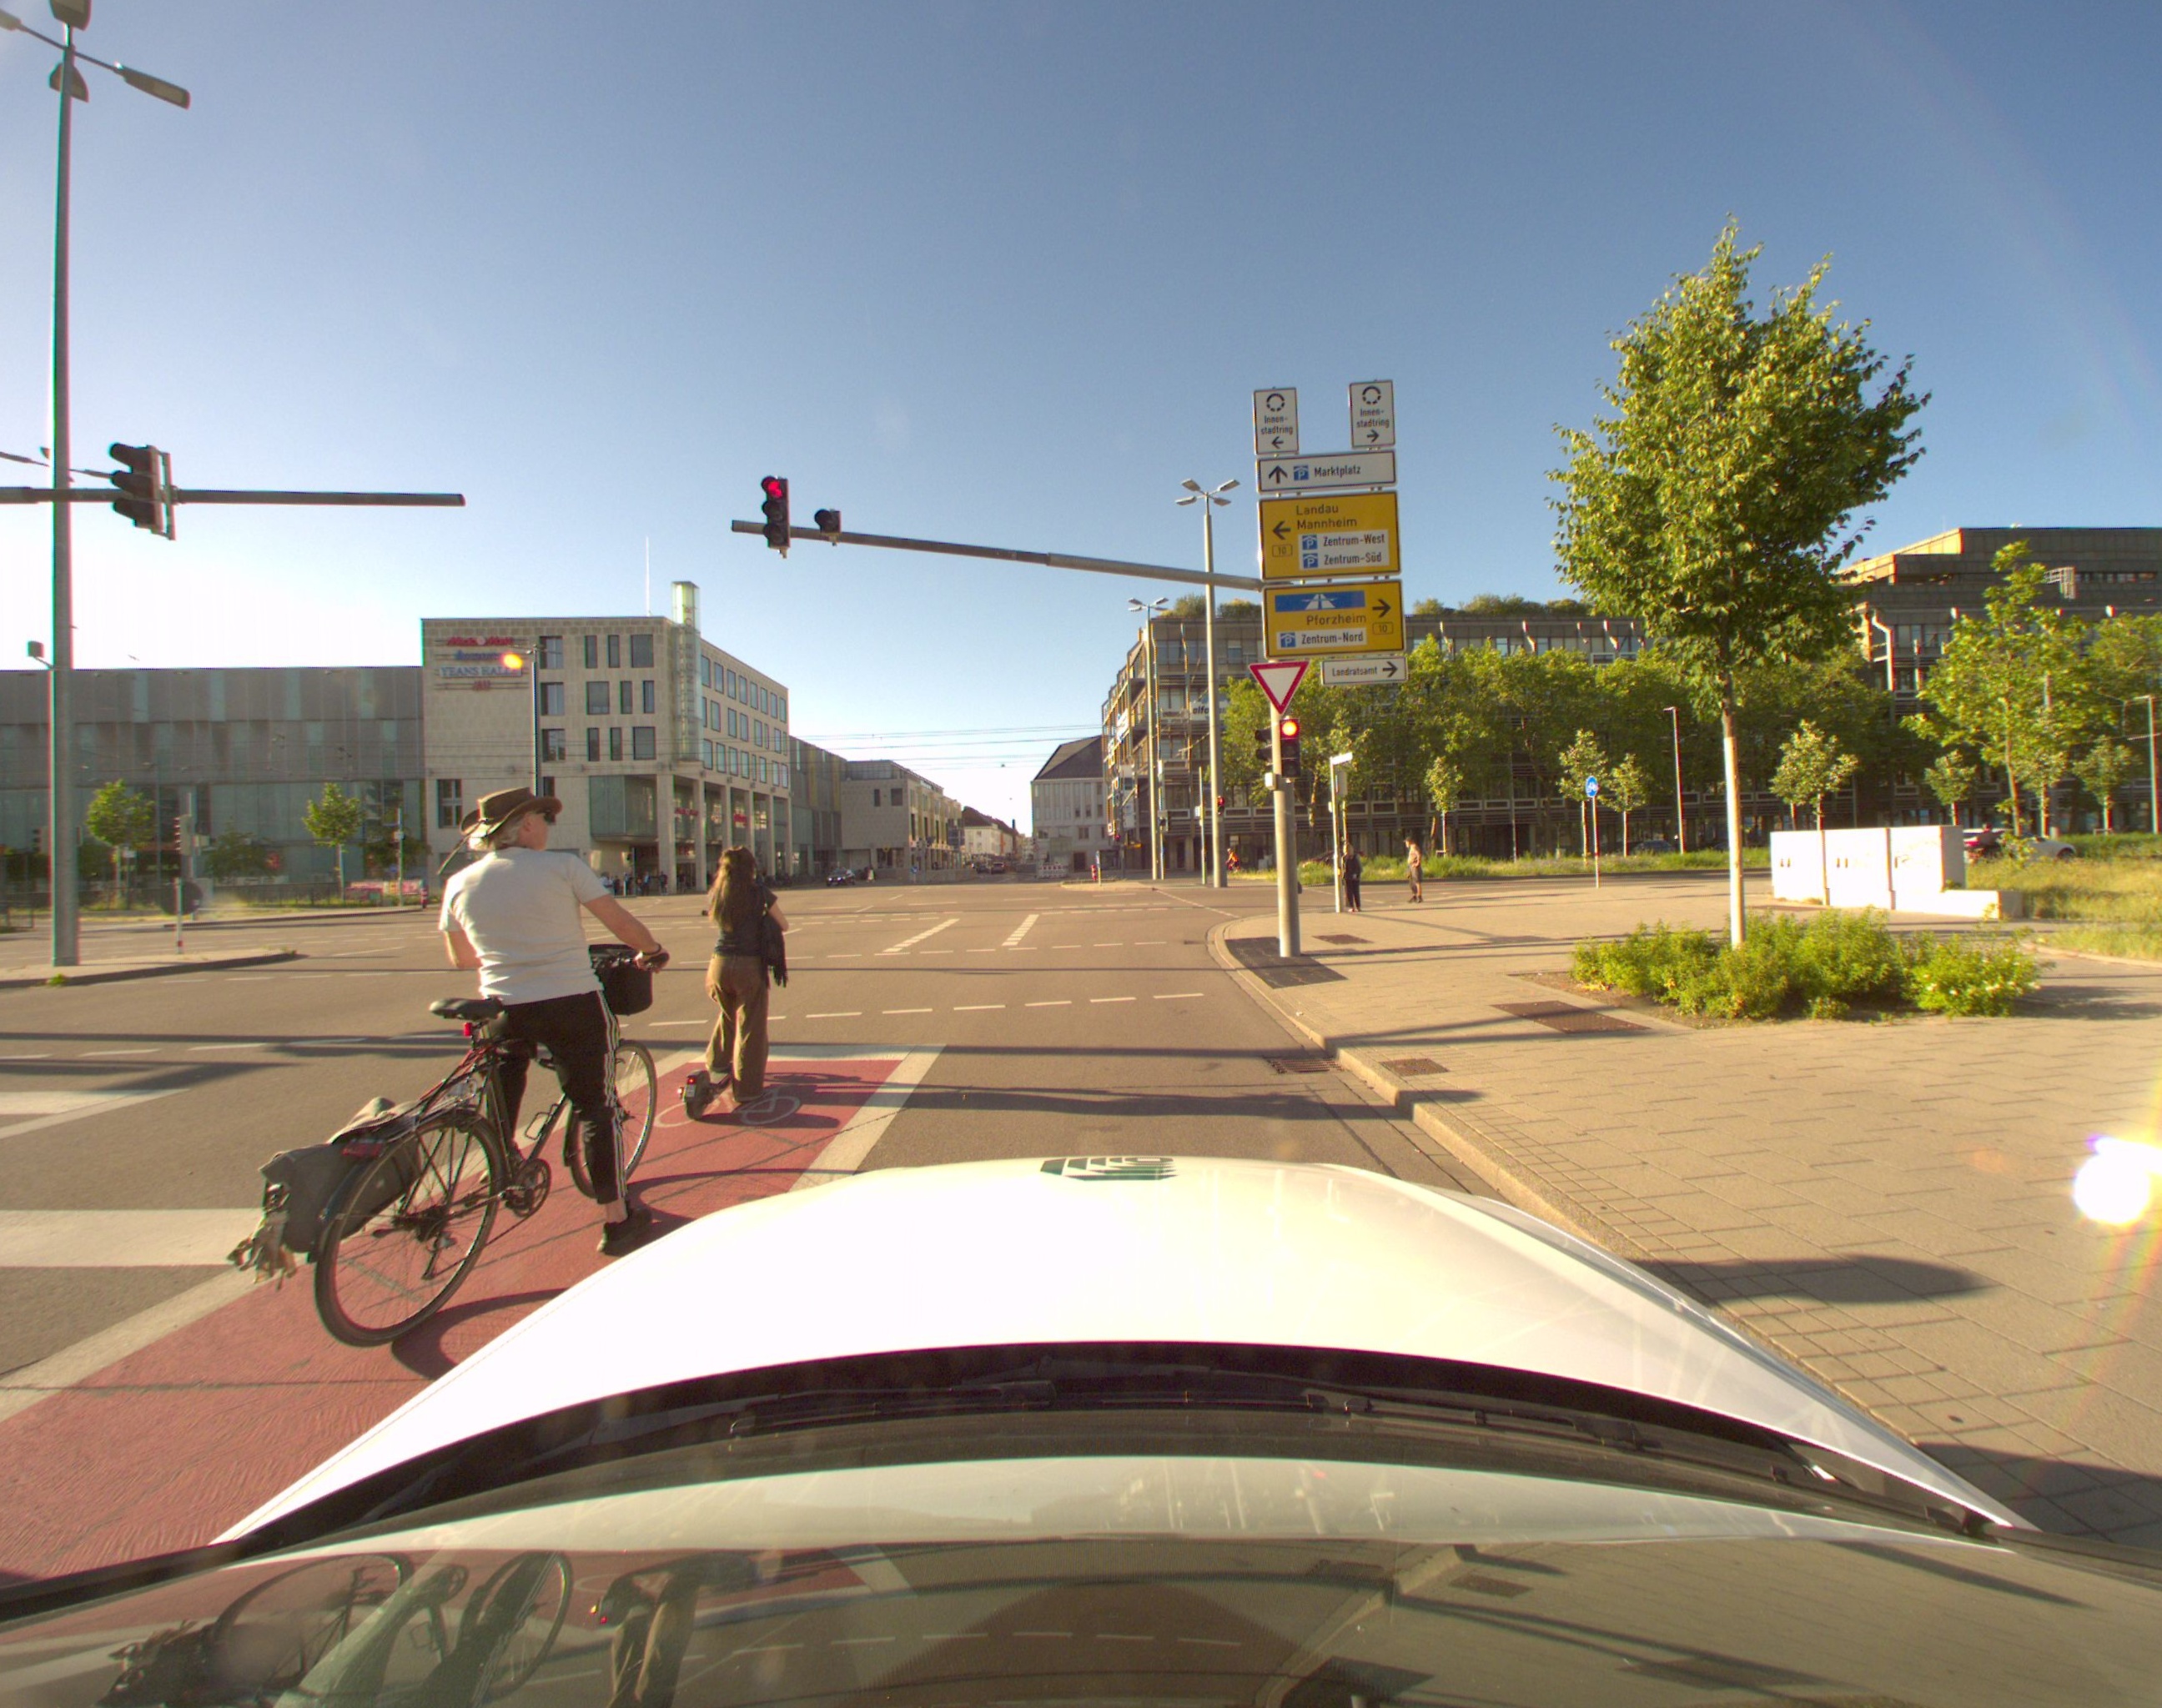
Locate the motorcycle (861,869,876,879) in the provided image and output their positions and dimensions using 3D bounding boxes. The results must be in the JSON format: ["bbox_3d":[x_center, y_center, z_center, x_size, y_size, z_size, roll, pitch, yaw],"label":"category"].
[{"bbox_3d":[-25.780,2.417,98.738,1.807,1.206,0.509,0,0,-14],"label":"motorcycle"}]

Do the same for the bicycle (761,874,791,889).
[{"bbox_3d":[-26.461,2.408,70.651,2.299,1.222,0.612,-2,0,-1],"label":"bicycle"}]

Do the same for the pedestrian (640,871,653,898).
[{"bbox_3d":[-31.107,2.159,58.305,0.718,1.885,0.781,0,-1,-25],"label":"pedestrian"}]

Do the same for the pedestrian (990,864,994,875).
[{"bbox_3d":[-12.809,2.224,117.395,0.520,1.679,0.582,0,0,-5],"label":"pedestrian"}]

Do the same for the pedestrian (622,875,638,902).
[{"bbox_3d":[-31.945,2.445,57.691,0.783,1.885,0.716,0,-1,-4],"label":"pedestrian"}]

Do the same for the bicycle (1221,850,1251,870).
[{"bbox_3d":[8.968,0.353,47.118,1.643,1.154,0.496,0,-1,-8],"label":"bicycle"}]

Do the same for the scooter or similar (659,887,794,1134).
[{"bbox_3d":[-2.157,0.876,5.073,0.547,1.294,1.188,0,-1,-13],"label":"scooter or similar"}]

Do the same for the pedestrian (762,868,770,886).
[{"bbox_3d":[-29.292,2.140,75.844,0.553,1.679,0.606,0,0,-8],"label":"pedestrian"}]

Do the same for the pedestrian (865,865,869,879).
[{"bbox_3d":[-26.100,2.178,99.355,0.521,1.679,0.580,0,0,-12],"label":"pedestrian"}]

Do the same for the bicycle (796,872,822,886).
[{"bbox_3d":[-27.184,2.499,81.342,2.299,1.222,0.612,-2,0,-1],"label":"bicycle"}]

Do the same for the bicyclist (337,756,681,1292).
[{"bbox_3d":[-2.056,0.549,3.059,0.658,1.720,0.866,0,-1,1],"label":"bicyclist"}]

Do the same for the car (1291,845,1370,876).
[{"bbox_3d":[14.056,0.355,45.966,3.880,1.585,1.656,-2,-1,-6],"label":"car"}]

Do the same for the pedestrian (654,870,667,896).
[{"bbox_3d":[-30.791,2.112,59.665,0.800,1.843,0.856,-2,0,-26],"label":"pedestrian"}]

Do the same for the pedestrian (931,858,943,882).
[{"bbox_3d":[-11.127,1.242,62.883,0.637,1.890,0.794,-1,-1,16],"label":"pedestrian"}]

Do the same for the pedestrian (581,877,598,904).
[{"bbox_3d":[-35.205,2.592,58.316,0.783,1.885,0.716,0,-1,-4],"label":"pedestrian"}]

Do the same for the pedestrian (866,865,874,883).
[{"bbox_3d":[-20.242,1.887,78.226,0.650,1.719,0.447,-2,0,-22],"label":"pedestrian"}]

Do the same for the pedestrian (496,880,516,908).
[{"bbox_3d":[-41.357,2.871,58.591,0.883,2.014,0.771,0,-1,-9],"label":"pedestrian"}]

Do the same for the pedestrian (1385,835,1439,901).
[{"bbox_3d":[8.571,0.347,21.121,0.881,1.665,0.958,0,-1,-19],"label":"pedestrian"}]

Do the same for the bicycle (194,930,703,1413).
[{"bbox_3d":[-2.148,0.949,3.136,0.483,1.156,1.832,0,-1,2],"label":"bicycle"}]

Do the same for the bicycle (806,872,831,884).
[{"bbox_3d":[-27.587,2.537,85.581,2.299,1.222,0.612,-2,0,-1],"label":"bicycle"}]

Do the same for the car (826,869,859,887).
[{"bbox_3d":[-20.624,2.042,70.506,1.625,1.342,3.999,-4,-1,0],"label":"car"}]

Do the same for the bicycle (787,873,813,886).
[{"bbox_3d":[-27.628,2.493,80.125,2.299,1.222,0.612,-2,0,-1],"label":"bicycle"}]

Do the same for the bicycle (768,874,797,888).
[{"bbox_3d":[-26.739,2.428,72.895,2.299,1.222,0.612,-2,0,-1],"label":"bicycle"}]

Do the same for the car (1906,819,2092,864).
[{"bbox_3d":[33.247,-0.437,29.564,4.934,1.419,1.850,-2,0,-4],"label":"car"}]

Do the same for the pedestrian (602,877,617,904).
[{"bbox_3d":[-33.973,2.618,58.689,0.714,1.885,0.786,0,-1,-6],"label":"pedestrian"}]

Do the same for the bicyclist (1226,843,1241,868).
[{"bbox_3d":[8.835,0.096,47.104,0.710,1.437,0.496,0,-1,-7],"label":"bicyclist"}]

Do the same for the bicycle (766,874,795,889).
[{"bbox_3d":[-26.564,2.419,72.010,2.299,1.222,0.612,-2,0,-1],"label":"bicycle"}]

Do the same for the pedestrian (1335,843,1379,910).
[{"bbox_3d":[6.310,0.503,18.653,0.785,1.492,0.644,0,-1,1],"label":"pedestrian"}]

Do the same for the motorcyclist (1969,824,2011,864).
[{"bbox_3d":[29.310,-0.326,26.269,0.724,1.248,0.560,-2,0,-5],"label":"motorcyclist"}]

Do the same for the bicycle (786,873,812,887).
[{"bbox_3d":[-27.062,2.473,78.131,2.299,1.222,0.612,-2,0,-1],"label":"bicycle"}]

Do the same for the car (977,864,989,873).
[{"bbox_3d":[-15.830,2.364,132.066,1.782,1.451,3.993,0,-1,-5],"label":"car"}]

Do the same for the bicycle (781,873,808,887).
[{"bbox_3d":[-26.696,2.452,75.963,2.299,1.222,0.612,-2,0,-1],"label":"bicycle"}]

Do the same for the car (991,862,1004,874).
[{"bbox_3d":[-11.136,1.843,108.654,1.735,1.531,3.848,0,-1,-5],"label":"car"}]

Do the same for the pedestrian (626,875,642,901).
[{"bbox_3d":[-32.512,2.462,59.243,0.783,1.885,0.716,0,-1,-4],"label":"pedestrian"}]

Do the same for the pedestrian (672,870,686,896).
[{"bbox_3d":[-29.105,2.060,58.939,0.801,1.843,0.855,-2,0,-30],"label":"pedestrian"}]

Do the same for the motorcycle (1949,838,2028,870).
[{"bbox_3d":[29.253,-0.010,26.256,2.071,0.958,0.560,-2,0,-5],"label":"motorcycle"}]

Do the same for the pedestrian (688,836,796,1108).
[{"bbox_3d":[-2.162,0.711,5.242,0.549,1.633,0.569,0,-1,-13],"label":"pedestrian"}]

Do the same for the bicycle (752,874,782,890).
[{"bbox_3d":[-26.733,2.399,69.374,2.299,1.222,0.612,-2,0,-1],"label":"bicycle"}]

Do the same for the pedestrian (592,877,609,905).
[{"bbox_3d":[-33.868,2.607,57.372,0.783,1.885,0.716,0,-1,-4],"label":"pedestrian"}]

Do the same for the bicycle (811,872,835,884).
[{"bbox_3d":[-27.422,2.544,86.646,2.299,1.222,0.612,-2,0,-1],"label":"bicycle"}]
